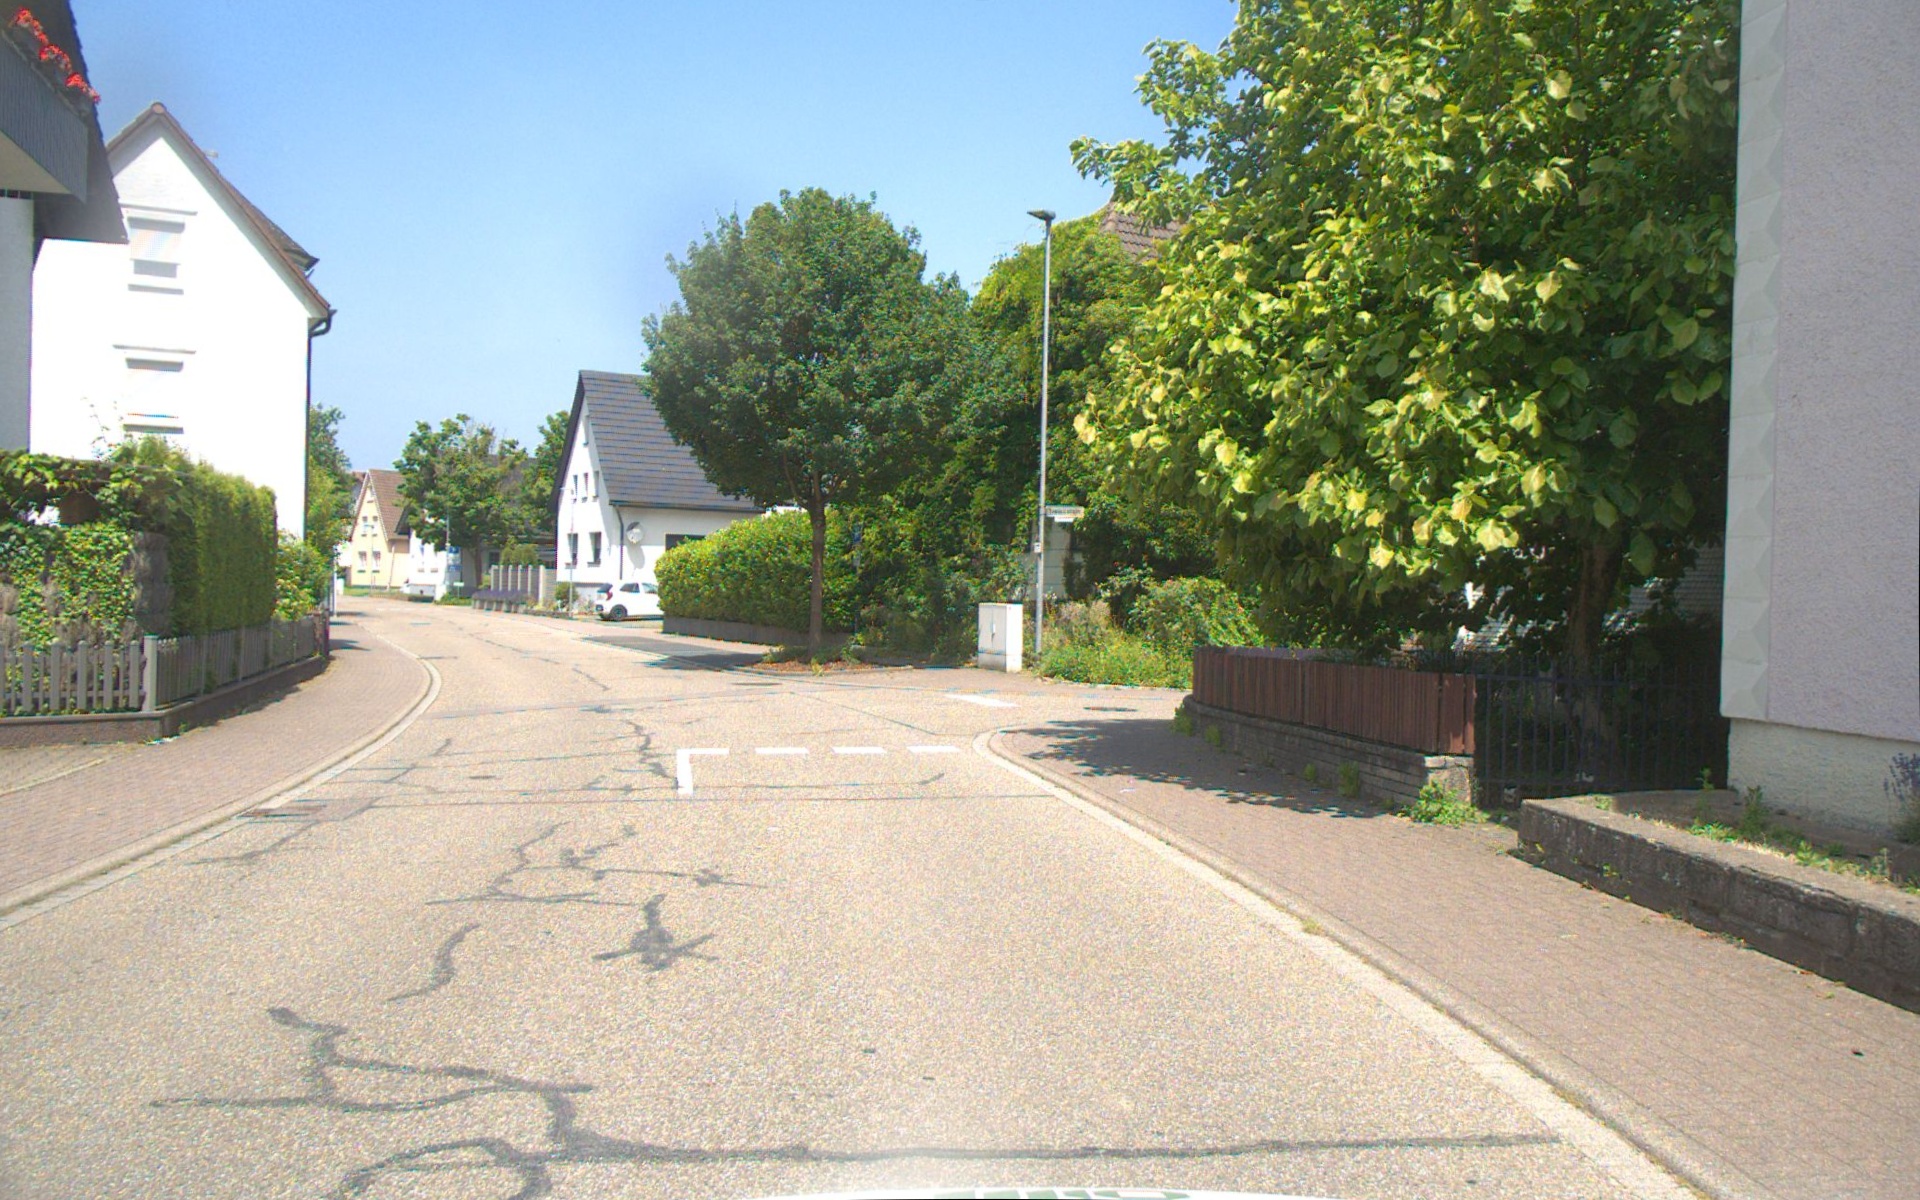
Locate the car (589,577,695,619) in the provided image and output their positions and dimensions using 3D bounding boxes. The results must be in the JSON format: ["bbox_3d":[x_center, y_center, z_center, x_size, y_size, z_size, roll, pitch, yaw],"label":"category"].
[{"bbox_3d":[-12.057,-0.098,62.697,3.619,1.500,1.748,-1,2,-30],"label":"car"}]
